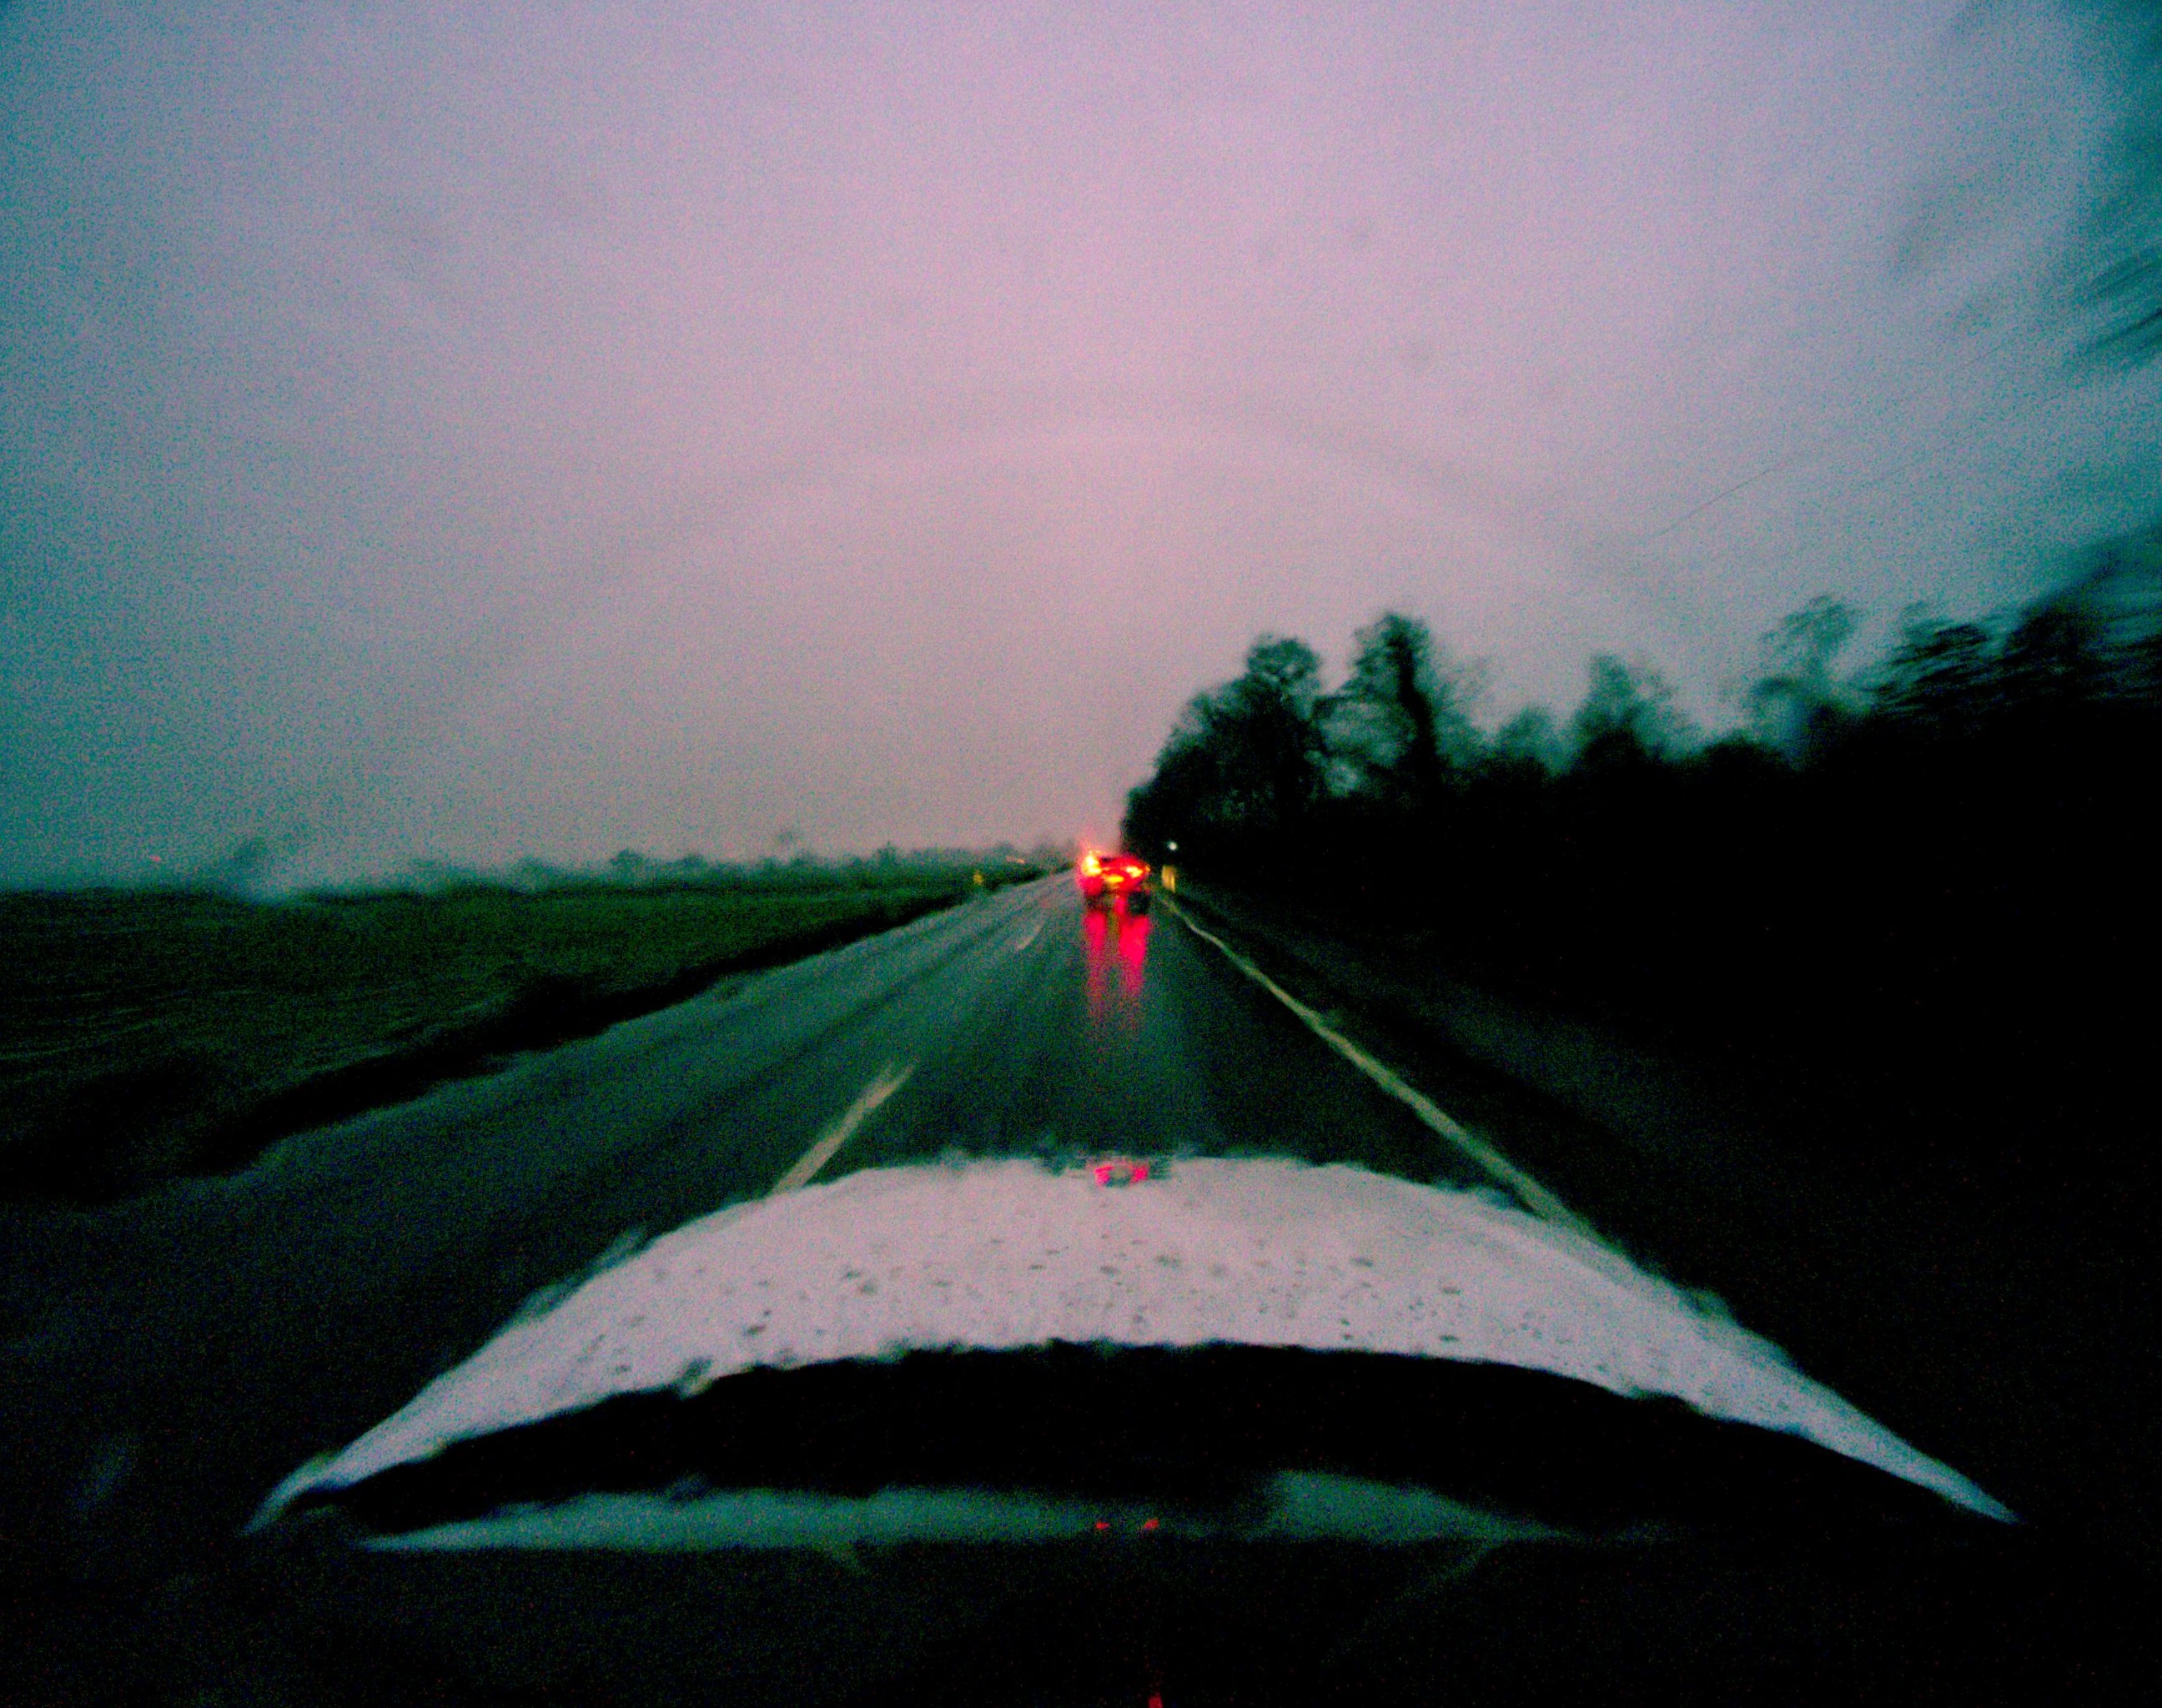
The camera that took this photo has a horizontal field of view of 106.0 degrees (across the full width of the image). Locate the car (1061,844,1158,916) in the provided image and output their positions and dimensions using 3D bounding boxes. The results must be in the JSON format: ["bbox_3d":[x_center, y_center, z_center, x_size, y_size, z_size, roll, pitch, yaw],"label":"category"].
[{"bbox_3d":[0.943,0.794,26.657,2.809,2.077,5.807,0,-1,2],"label":"car"}]
